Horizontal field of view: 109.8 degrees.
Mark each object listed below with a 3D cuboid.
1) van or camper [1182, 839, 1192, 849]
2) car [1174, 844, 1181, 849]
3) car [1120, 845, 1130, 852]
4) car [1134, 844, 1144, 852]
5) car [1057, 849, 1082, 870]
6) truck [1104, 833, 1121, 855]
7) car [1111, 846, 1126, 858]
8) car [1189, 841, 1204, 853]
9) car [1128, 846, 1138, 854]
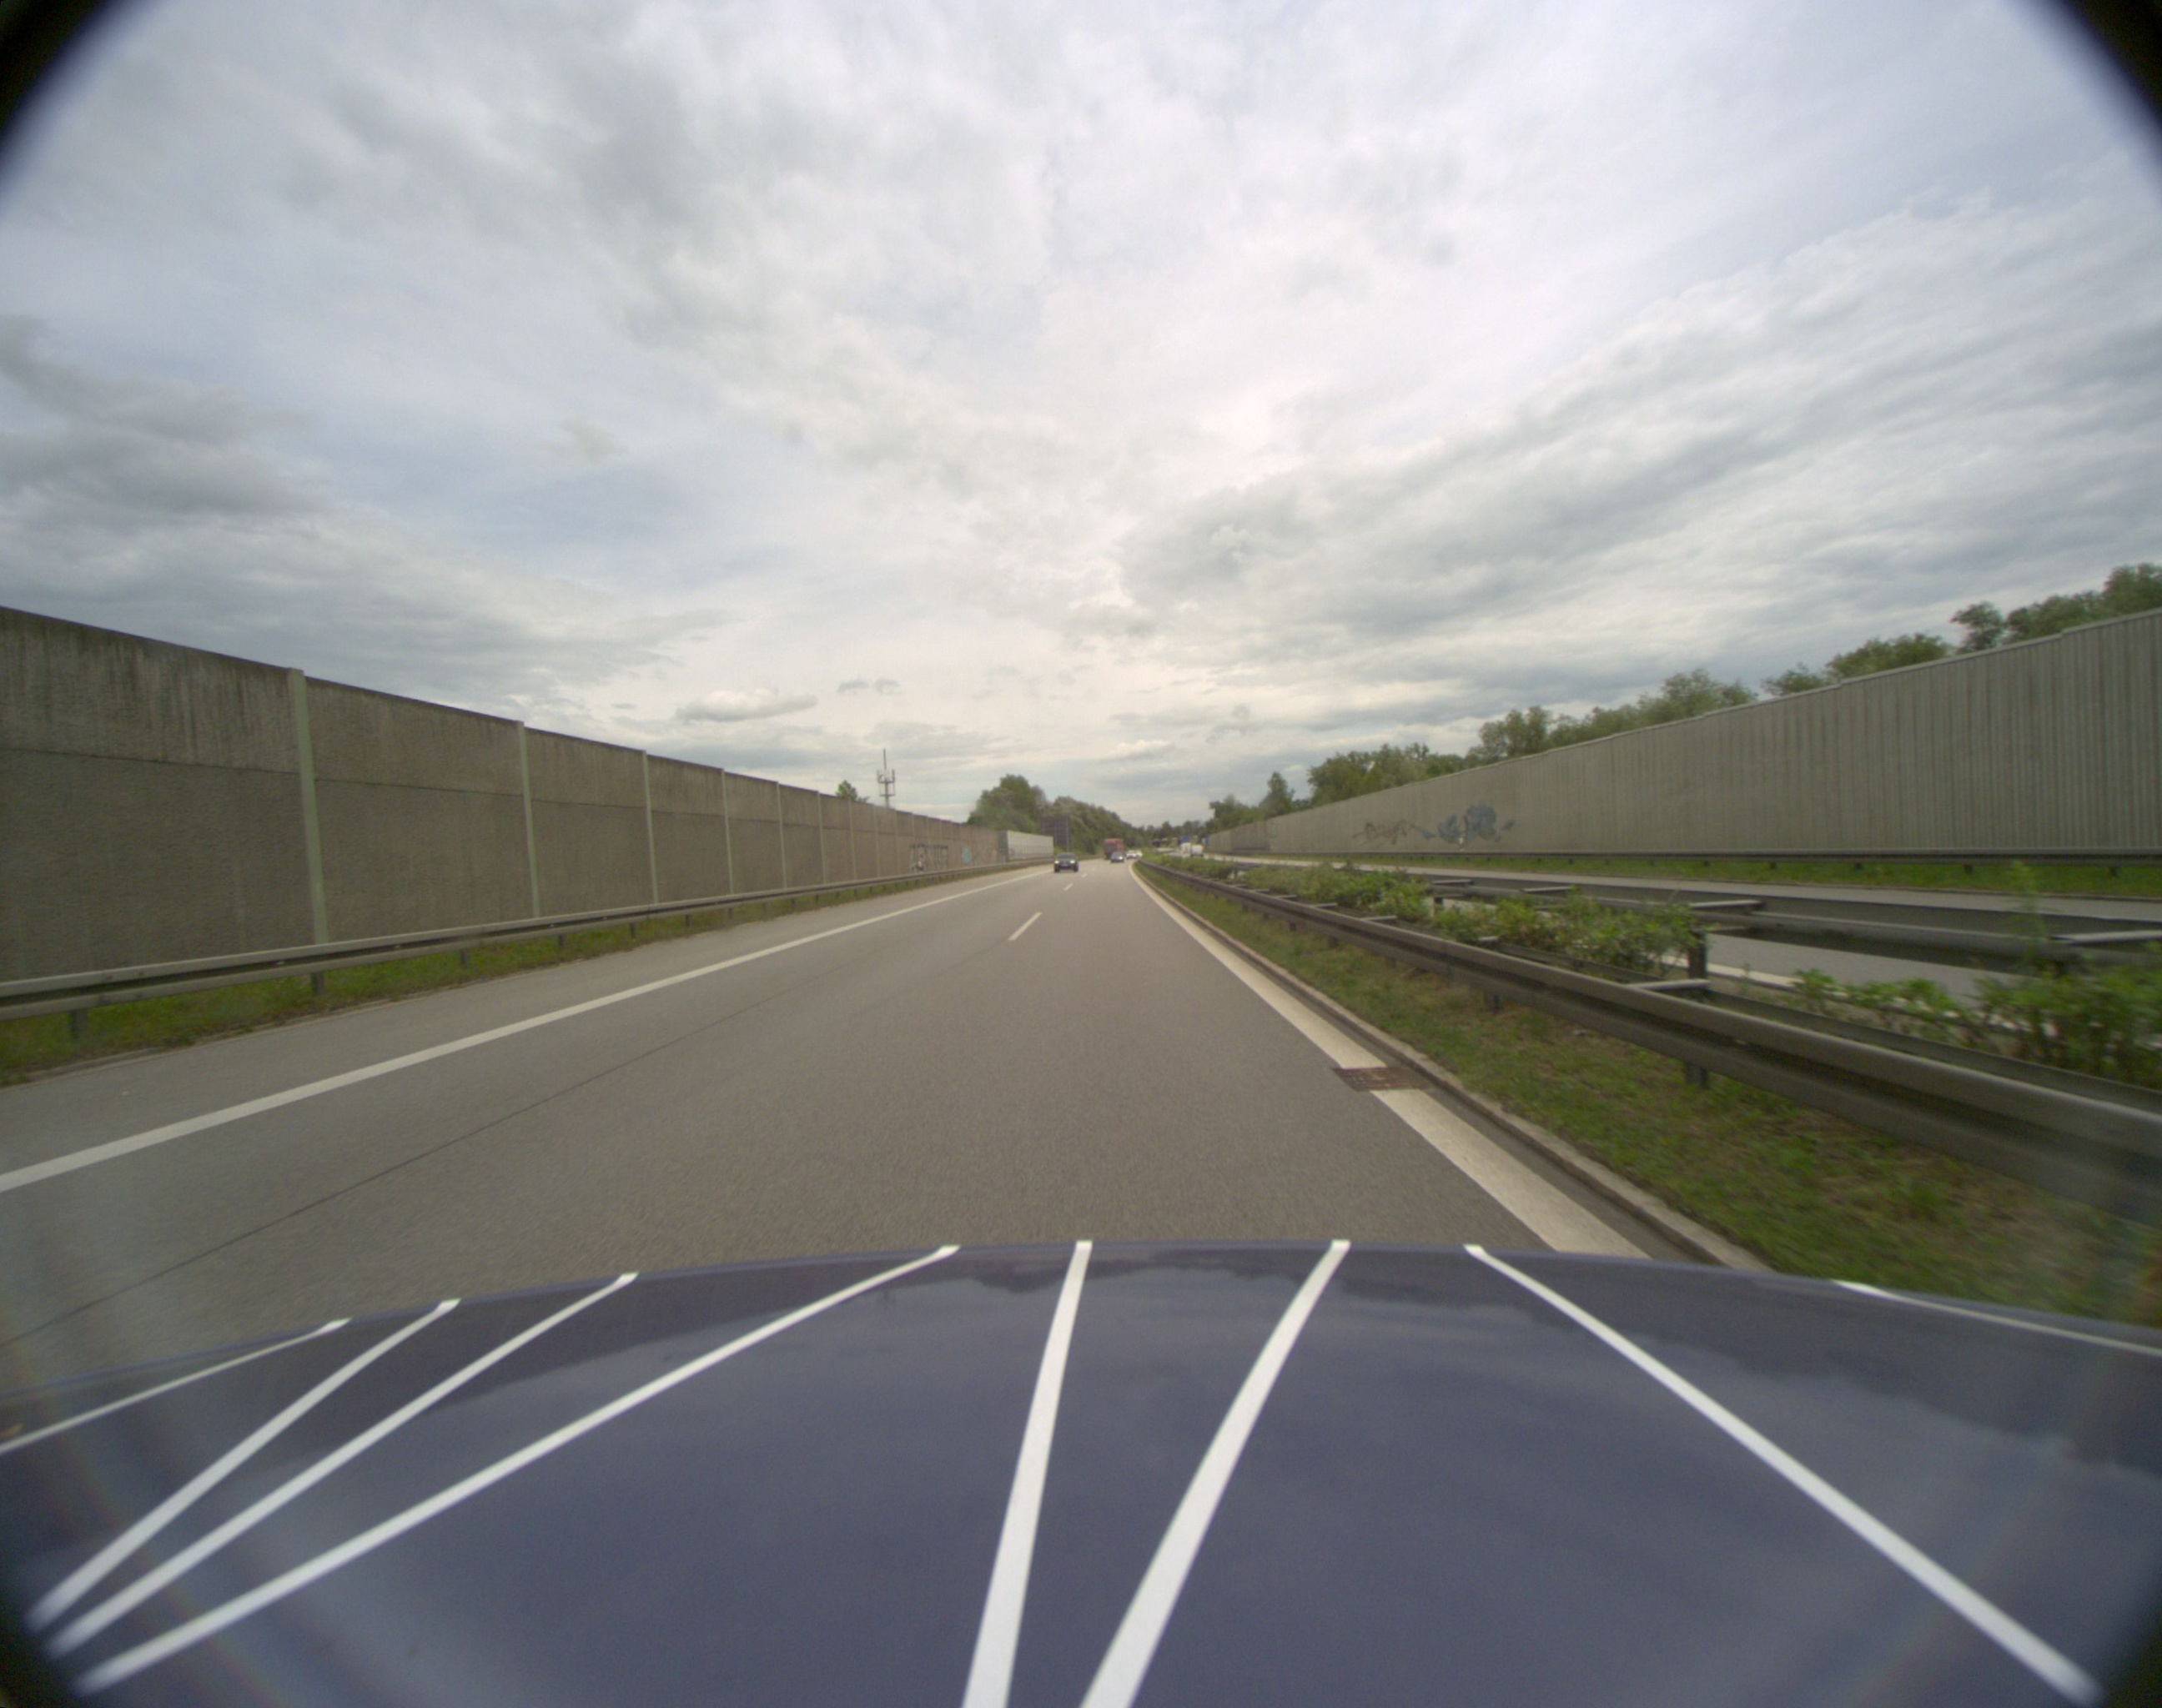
[{"bbox_3d":[30.841,-2.872,221.135,2.470,2.853,7.774,-2,1,11],"label":"van or camper"},{"bbox_3d":[31.201,-2.425,245.472,1.695,1.412,4.651,-1,1,13],"label":"car"},{"bbox_3d":[10.504,-1.381,181.795,1.888,1.608,4.002,-2,1,10],"label":"car"},{"bbox_3d":[13.585,-1.394,177.256,1.888,1.608,4.002,-1,1,10],"label":"car"},{"bbox_3d":[-0.919,0.459,62.861,1.889,1.608,4.000,-1,1,2],"label":"car"},{"bbox_3d":[6.416,-1.956,151.786,2.933,4.069,11.344,-2,1,4],"label":"truck"},{"bbox_3d":[5.137,-0.264,105.098,1.889,1.608,4.001,-1,1,5],"label":"car"},{"bbox_3d":[17.699,-1.016,116.712,1.745,1.734,4.628,-2,1,3],"label":"car"},{"bbox_3d":[10.058,-0.774,146.160,1.889,1.608,4.001,-1,1,4],"label":"car"}]
